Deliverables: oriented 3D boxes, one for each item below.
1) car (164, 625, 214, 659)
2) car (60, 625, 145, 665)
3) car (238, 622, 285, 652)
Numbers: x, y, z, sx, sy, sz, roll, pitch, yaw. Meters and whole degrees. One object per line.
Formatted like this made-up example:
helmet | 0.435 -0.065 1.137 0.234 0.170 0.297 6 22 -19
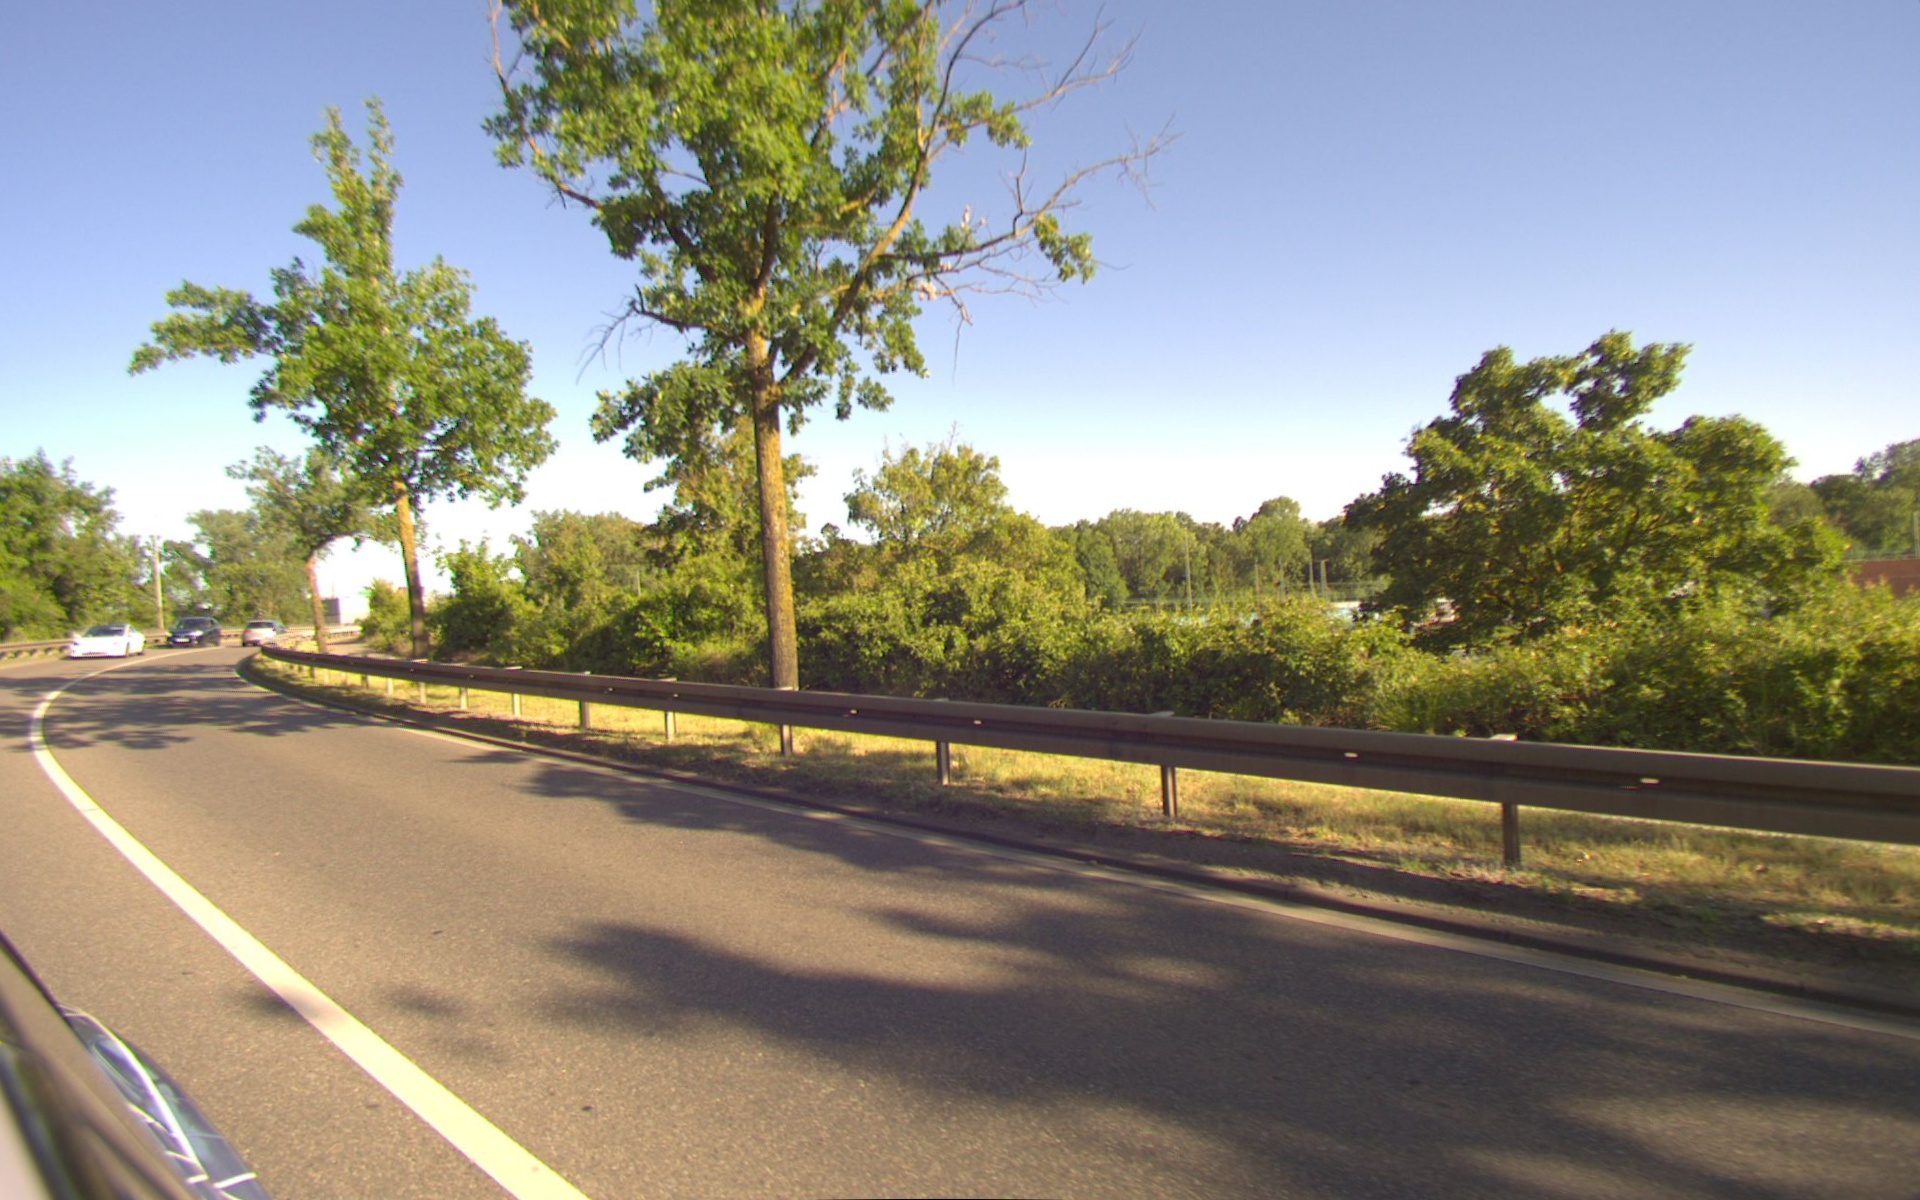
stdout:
car | -42.236 2.253 55.511 1.655 1.717 3.616 -1 0 -29
car | -36.168 1.860 42.803 2.115 1.579 4.210 0 -1 -31
car | -38.608 2.023 56.038 1.671 1.530 3.994 0 -1 -28
